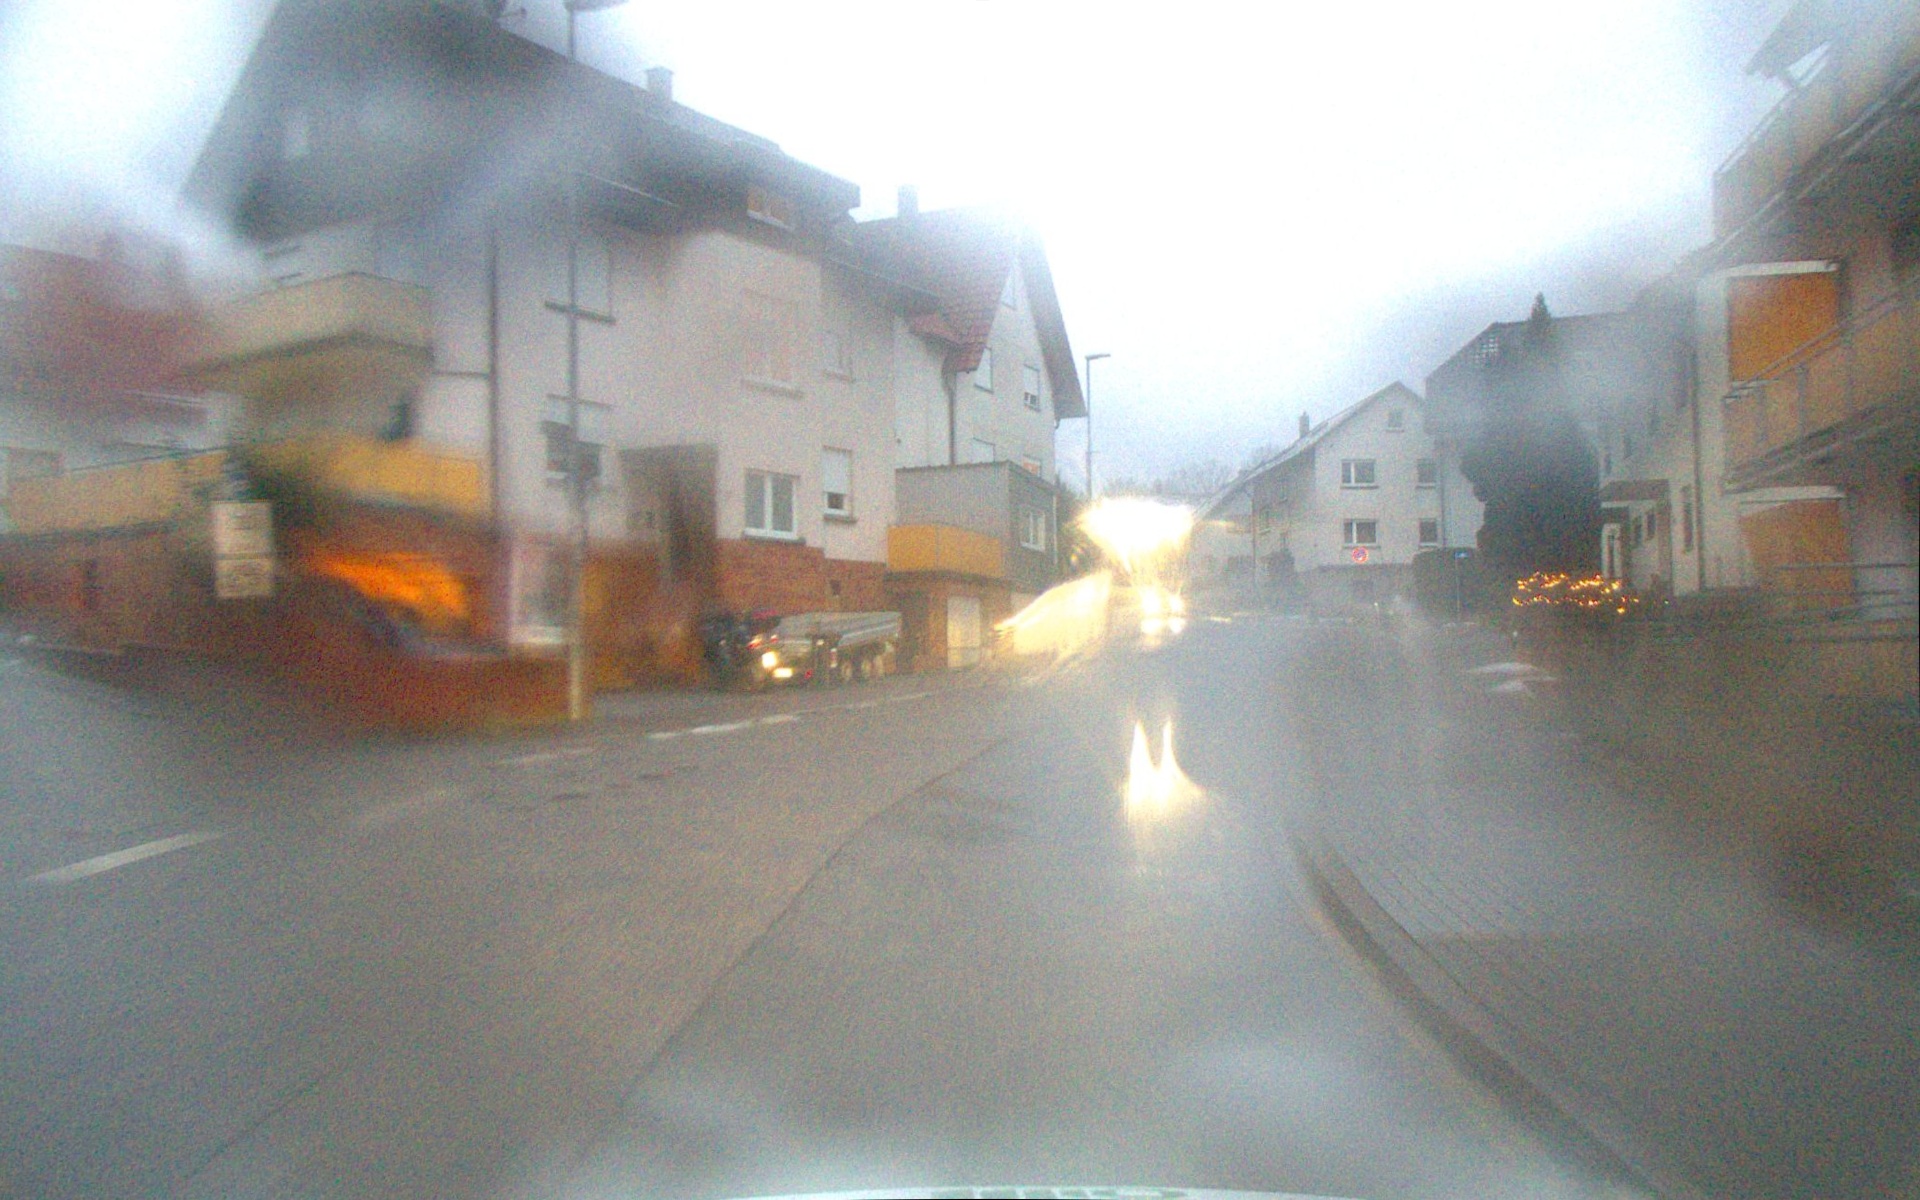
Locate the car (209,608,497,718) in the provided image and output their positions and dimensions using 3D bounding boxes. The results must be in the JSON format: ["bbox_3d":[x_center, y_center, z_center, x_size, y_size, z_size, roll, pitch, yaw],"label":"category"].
[{"bbox_3d":[-8.804,0.850,23.941,3.914,1.441,1.913,0,0,32],"label":"car"}]

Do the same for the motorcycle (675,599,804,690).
[{"bbox_3d":[-3.426,0.657,25.540,1.045,1.321,2.210,0,0,-36],"label":"motorcycle"}]

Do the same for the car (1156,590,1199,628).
[{"bbox_3d":[12.624,0.511,95.854,2.065,2.062,4.987,-2,0,12],"label":"car"}]

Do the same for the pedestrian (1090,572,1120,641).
[{"bbox_3d":[3.737,0.171,42.543,0.585,1.763,0.812,0,-1,19],"label":"pedestrian"}]

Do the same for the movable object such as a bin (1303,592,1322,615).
[{"bbox_3d":[14.523,0.128,68.119,0.623,0.933,0.686,-1,0,3],"label":"movable object such as a bin"}]

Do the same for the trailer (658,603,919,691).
[{"bbox_3d":[-2.731,0.716,27.663,2.019,1.189,4.862,1,2,27],"label":"trailer"}]
